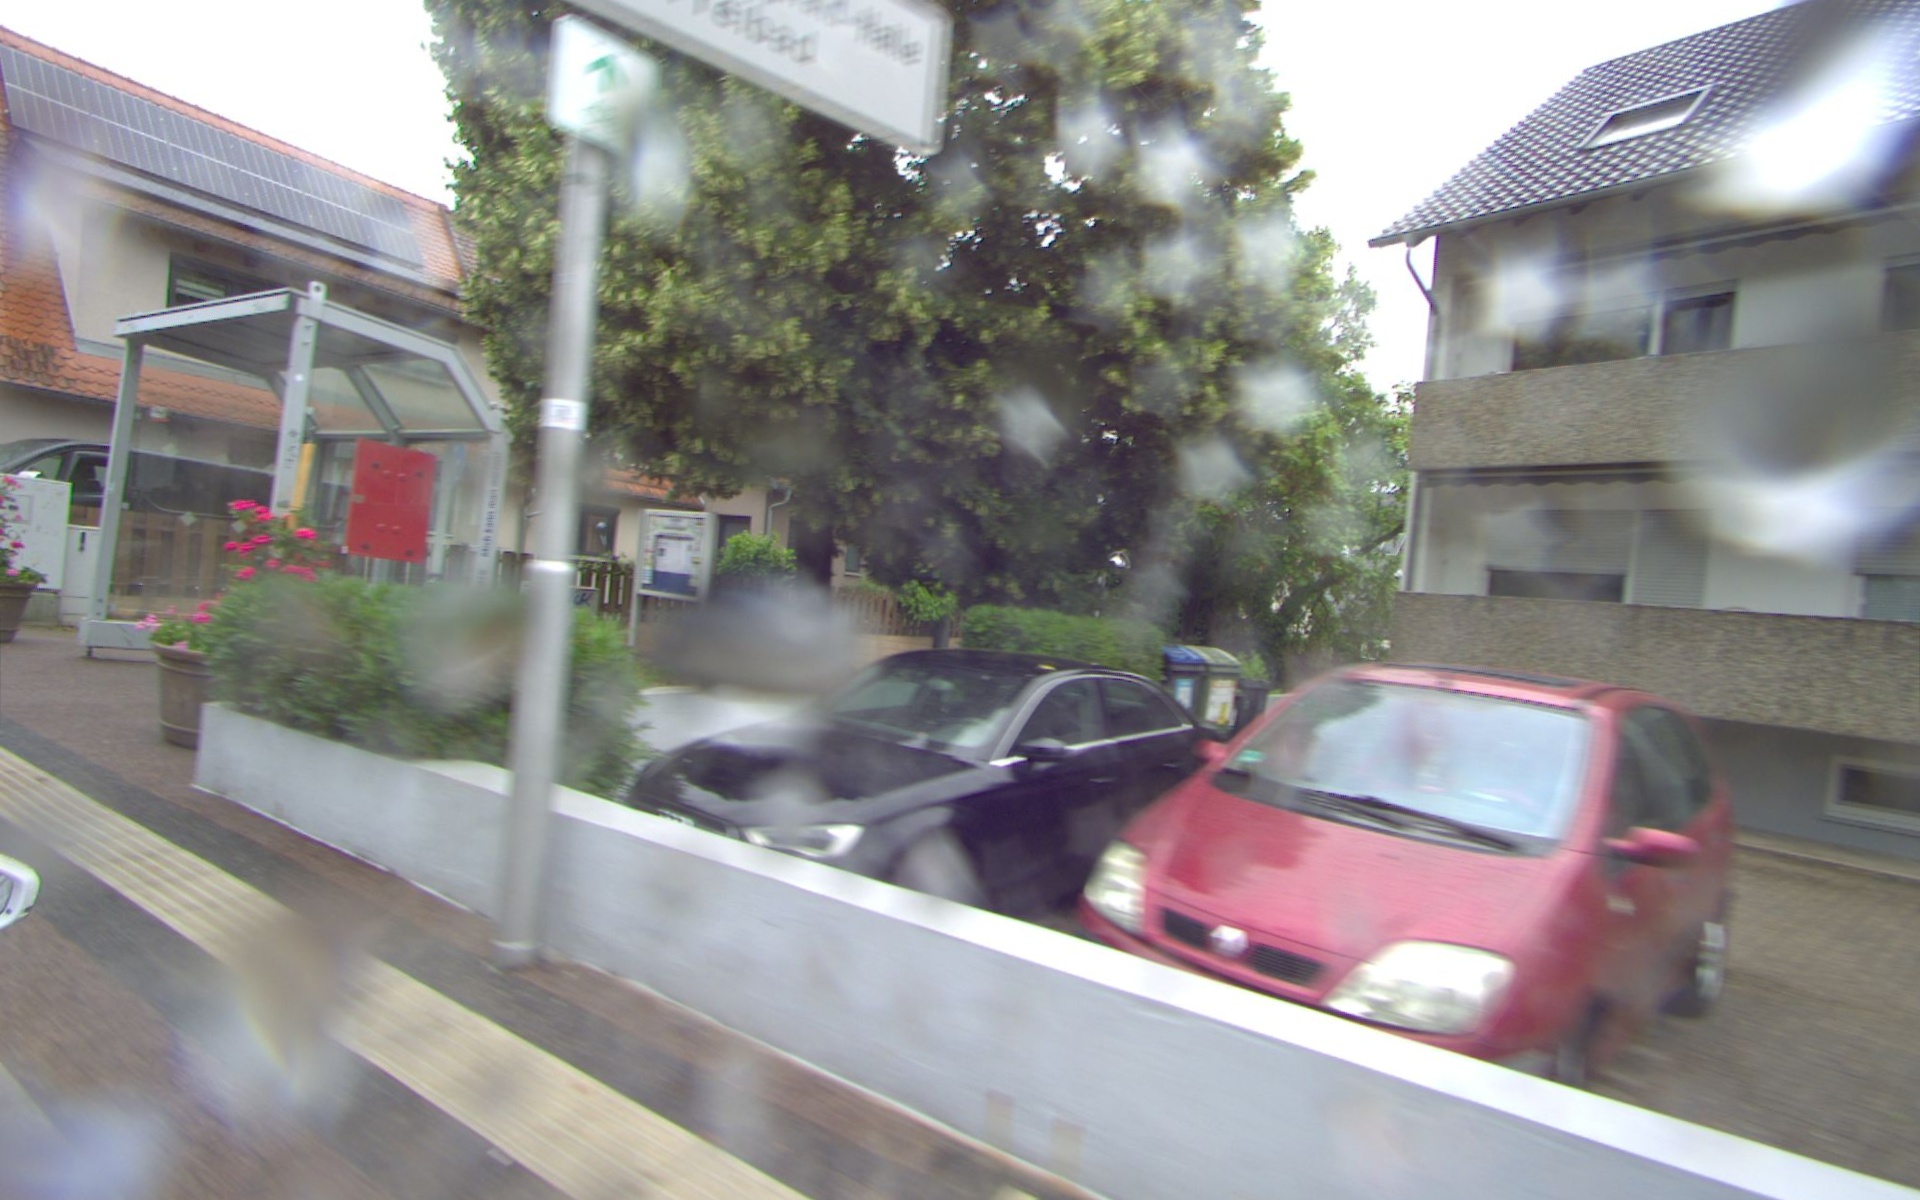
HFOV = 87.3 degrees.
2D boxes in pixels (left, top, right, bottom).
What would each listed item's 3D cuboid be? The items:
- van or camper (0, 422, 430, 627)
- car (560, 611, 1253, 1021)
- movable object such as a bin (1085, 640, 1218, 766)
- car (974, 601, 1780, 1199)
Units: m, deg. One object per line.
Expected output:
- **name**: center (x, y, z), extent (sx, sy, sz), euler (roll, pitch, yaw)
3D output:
- **van or camper**: center (-10.291, -0.863, 13.725), extent (1.844, 1.945, 5.081), euler (7, -2, 29)
- **car**: center (0.010, 0.957, 5.882), extent (1.726, 1.396, 3.946), euler (7, 1, 40)
- **movable object such as a bin**: center (2.455, 1.294, 12.830), extent (1.136, 1.374, 1.243), euler (7, 0, 34)
- **car**: center (2.205, 1.043, 4.617), extent (4.055, 1.609, 1.834), euler (6, 0, -44)
